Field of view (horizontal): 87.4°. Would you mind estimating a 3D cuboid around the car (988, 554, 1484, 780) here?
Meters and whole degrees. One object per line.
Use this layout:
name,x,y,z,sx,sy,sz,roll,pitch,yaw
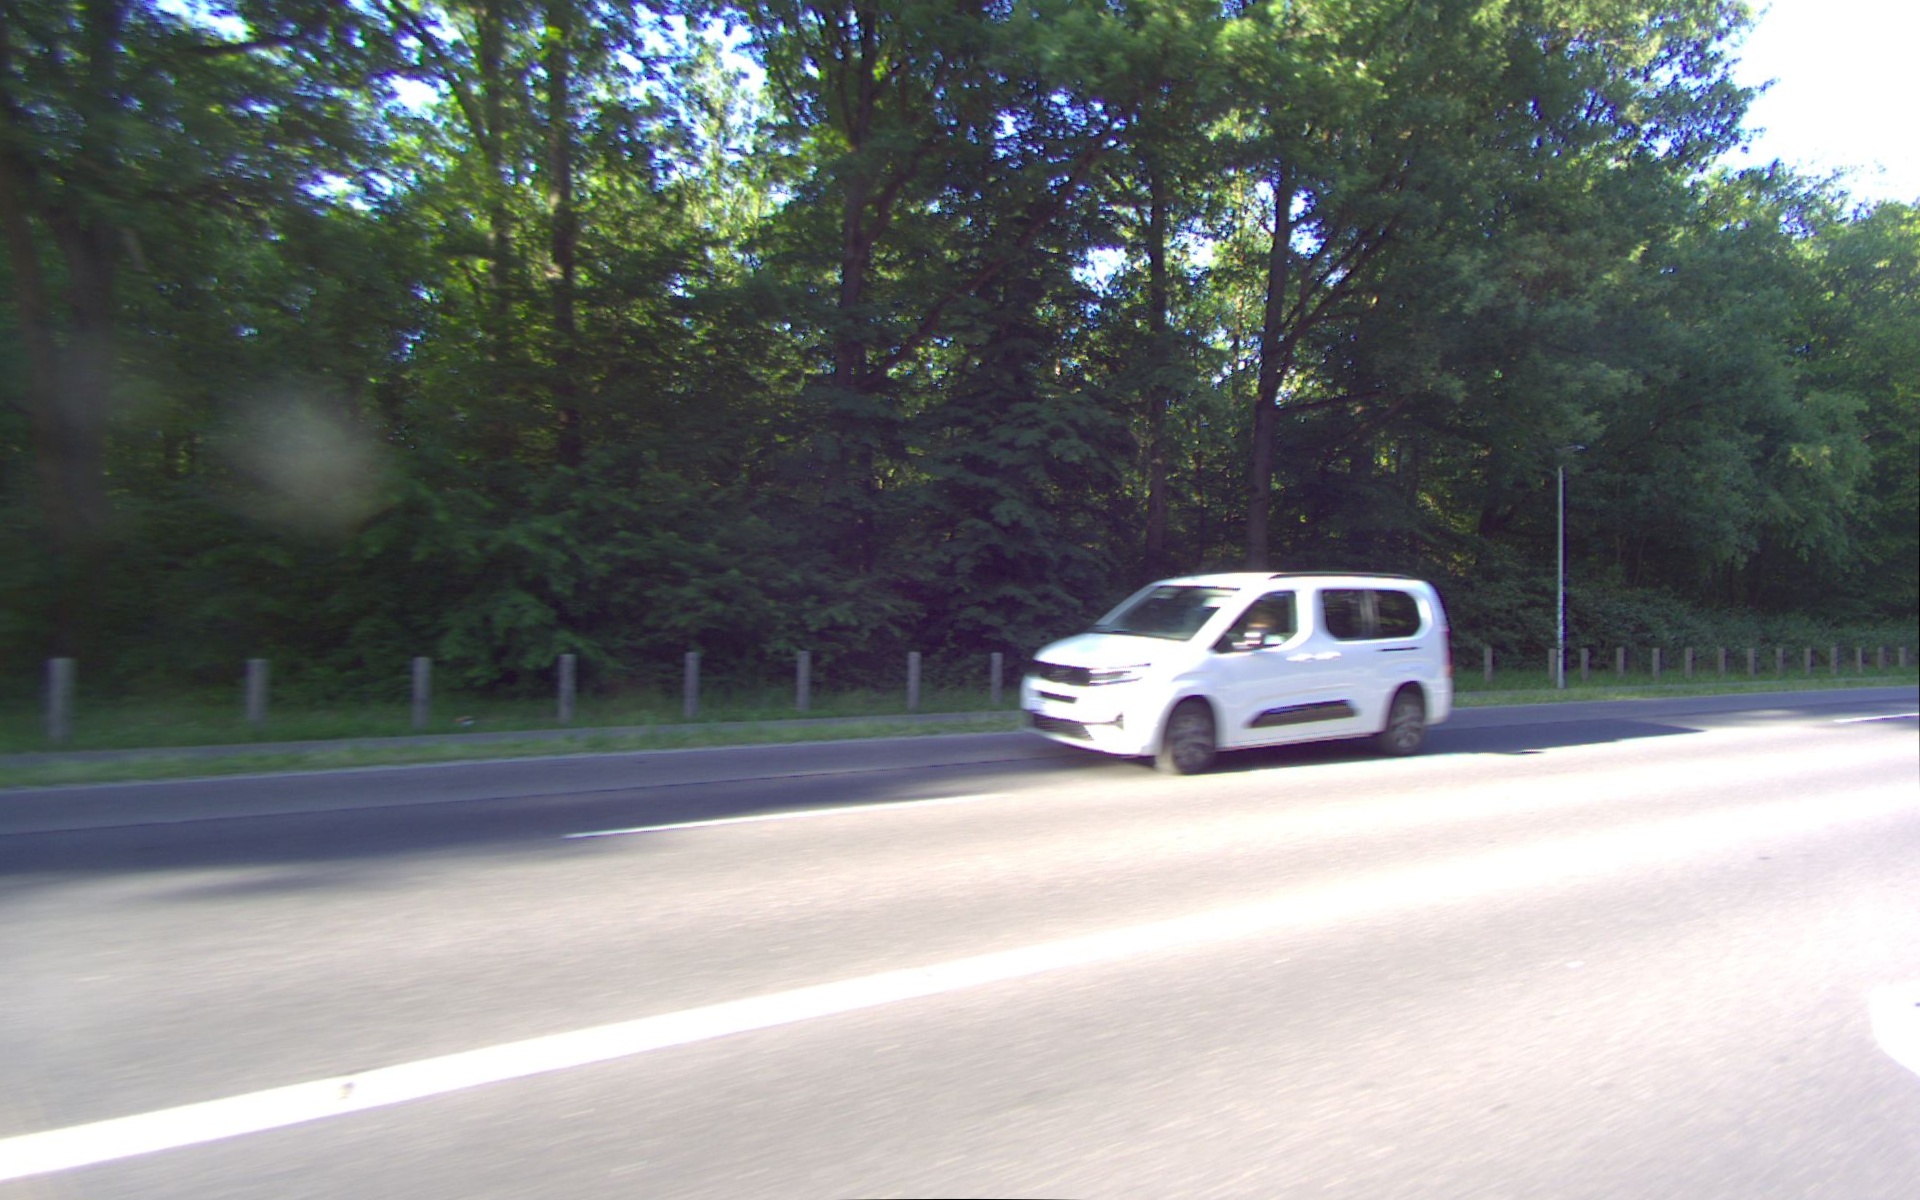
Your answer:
car,2.919,0.573,10.318,4.940,1.851,1.991,1,1,-30
